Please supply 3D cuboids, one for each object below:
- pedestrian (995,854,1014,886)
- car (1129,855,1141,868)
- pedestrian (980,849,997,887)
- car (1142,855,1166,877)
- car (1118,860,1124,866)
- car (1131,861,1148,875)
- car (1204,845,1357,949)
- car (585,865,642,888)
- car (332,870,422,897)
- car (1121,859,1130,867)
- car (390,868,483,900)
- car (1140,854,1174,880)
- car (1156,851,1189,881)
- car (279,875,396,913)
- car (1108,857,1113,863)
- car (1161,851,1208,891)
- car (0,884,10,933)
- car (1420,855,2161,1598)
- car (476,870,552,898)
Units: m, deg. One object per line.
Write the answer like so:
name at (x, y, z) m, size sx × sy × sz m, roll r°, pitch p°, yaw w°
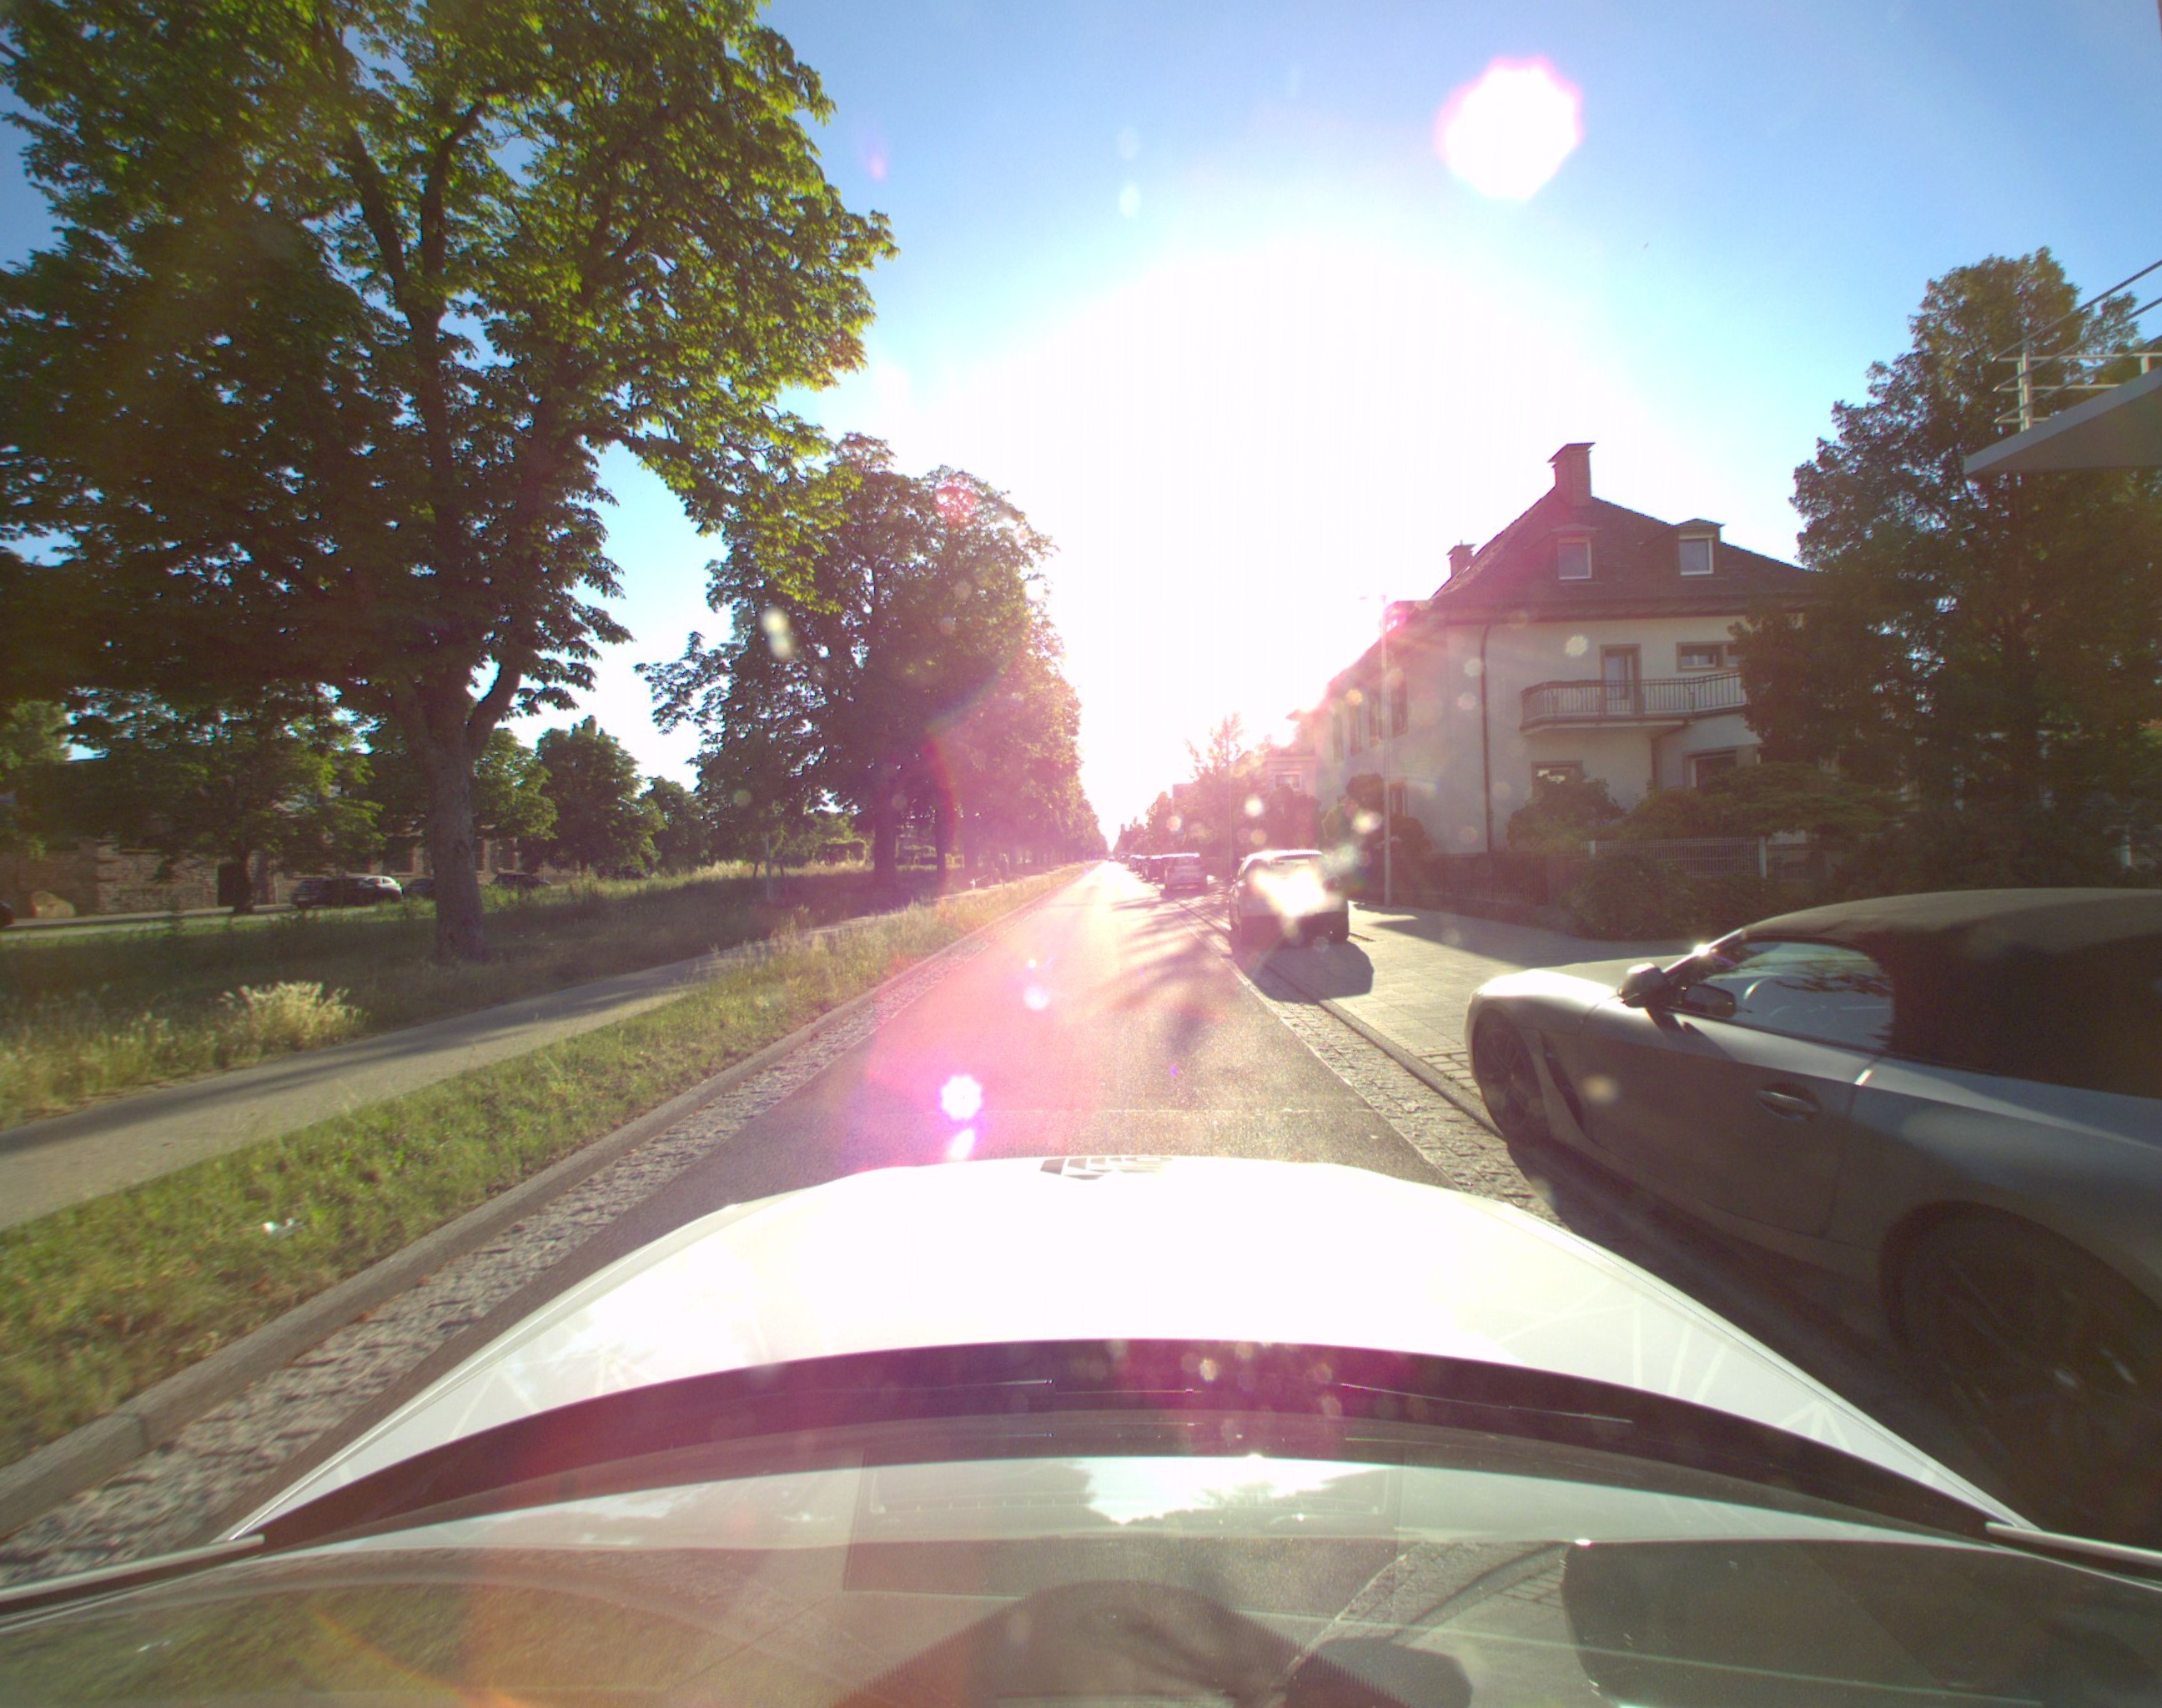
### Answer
pedestrian at (-3.840, 0.800, 40.999) m, size 0.779 × 1.614 × 0.953 m, roll -1°, pitch 0°, yaw 5°
car at (6.800, 0.944, 102.567) m, size 1.492 × 1.567 × 3.269 m, roll -2°, pitch -1°, yaw 3°
pedestrian at (-4.652, 0.693, 40.880) m, size 0.621 × 1.831 × 0.887 m, roll -1°, pitch 0°, yaw 5°
car at (5.400, 0.854, 60.367) m, size 1.586 × 1.510 × 3.594 m, roll -2°, pitch -1°, yaw 3°
car at (10.277, 2.272, 208.380) m, size 1.645 × 1.541 × 3.269 m, roll 0°, pitch -1°, yaw 3°
car at (5.982, 1.428, 83.477) m, size 1.645 × 1.396 × 3.269 m, roll -2°, pitch -1°, yaw 3°
car at (3.357, 0.670, 14.471) m, size 1.738 × 1.474 × 3.923 m, roll -4°, pitch 0°, yaw 1°
car at (-35.101, 1.669, 61.284) m, size 1.686 × 1.597 × 4.222 m, roll -1°, pitch 0°, yaw 1°
car at (-40.620, 1.674, 47.111) m, size 1.623 × 1.406 × 4.002 m, roll -1°, pitch 0°, yaw 2°
car at (9.005, 1.741, 164.127) m, size 1.645 × 1.541 × 3.269 m, roll 0°, pitch -1°, yaw 3°
car at (-35.377, 1.618, 44.869) m, size 1.686 × 1.597 × 4.222 m, roll -1°, pitch 0°, yaw 1°
car at (4.701, 0.831, 50.650) m, size 1.730 × 1.449 × 4.197 m, roll -3°, pitch -1°, yaw 1°
car at (4.997, 0.672, 44.610) m, size 1.649 × 1.494 × 3.722 m, roll -3°, pitch -1°, yaw 6°
car at (-35.659, 1.860, 39.212) m, size 1.686 × 1.597 × 4.222 m, roll -1°, pitch 0°, yaw 1°
car at (8.656, 1.719, 238.021) m, size 1.645 × 1.541 × 3.268 m, roll 0°, pitch -1°, yaw 2°
car at (4.339, 0.691, 34.415) m, size 1.621 × 1.504 × 3.636 m, roll -3°, pitch 0°, yaw 3°
car at (-36.120, 1.780, 24.662) m, size 1.686 × 1.597 × 4.222 m, roll -1°, pitch 0°, yaw 1°
car at (3.009, 0.729, 3.082) m, size 1.767 × 1.288 × 4.275 m, roll -4°, pitch 0°, yaw 3°
car at (-35.636, 1.830, 51.332) m, size 1.686 × 1.597 × 4.222 m, roll -1°, pitch 0°, yaw 1°
